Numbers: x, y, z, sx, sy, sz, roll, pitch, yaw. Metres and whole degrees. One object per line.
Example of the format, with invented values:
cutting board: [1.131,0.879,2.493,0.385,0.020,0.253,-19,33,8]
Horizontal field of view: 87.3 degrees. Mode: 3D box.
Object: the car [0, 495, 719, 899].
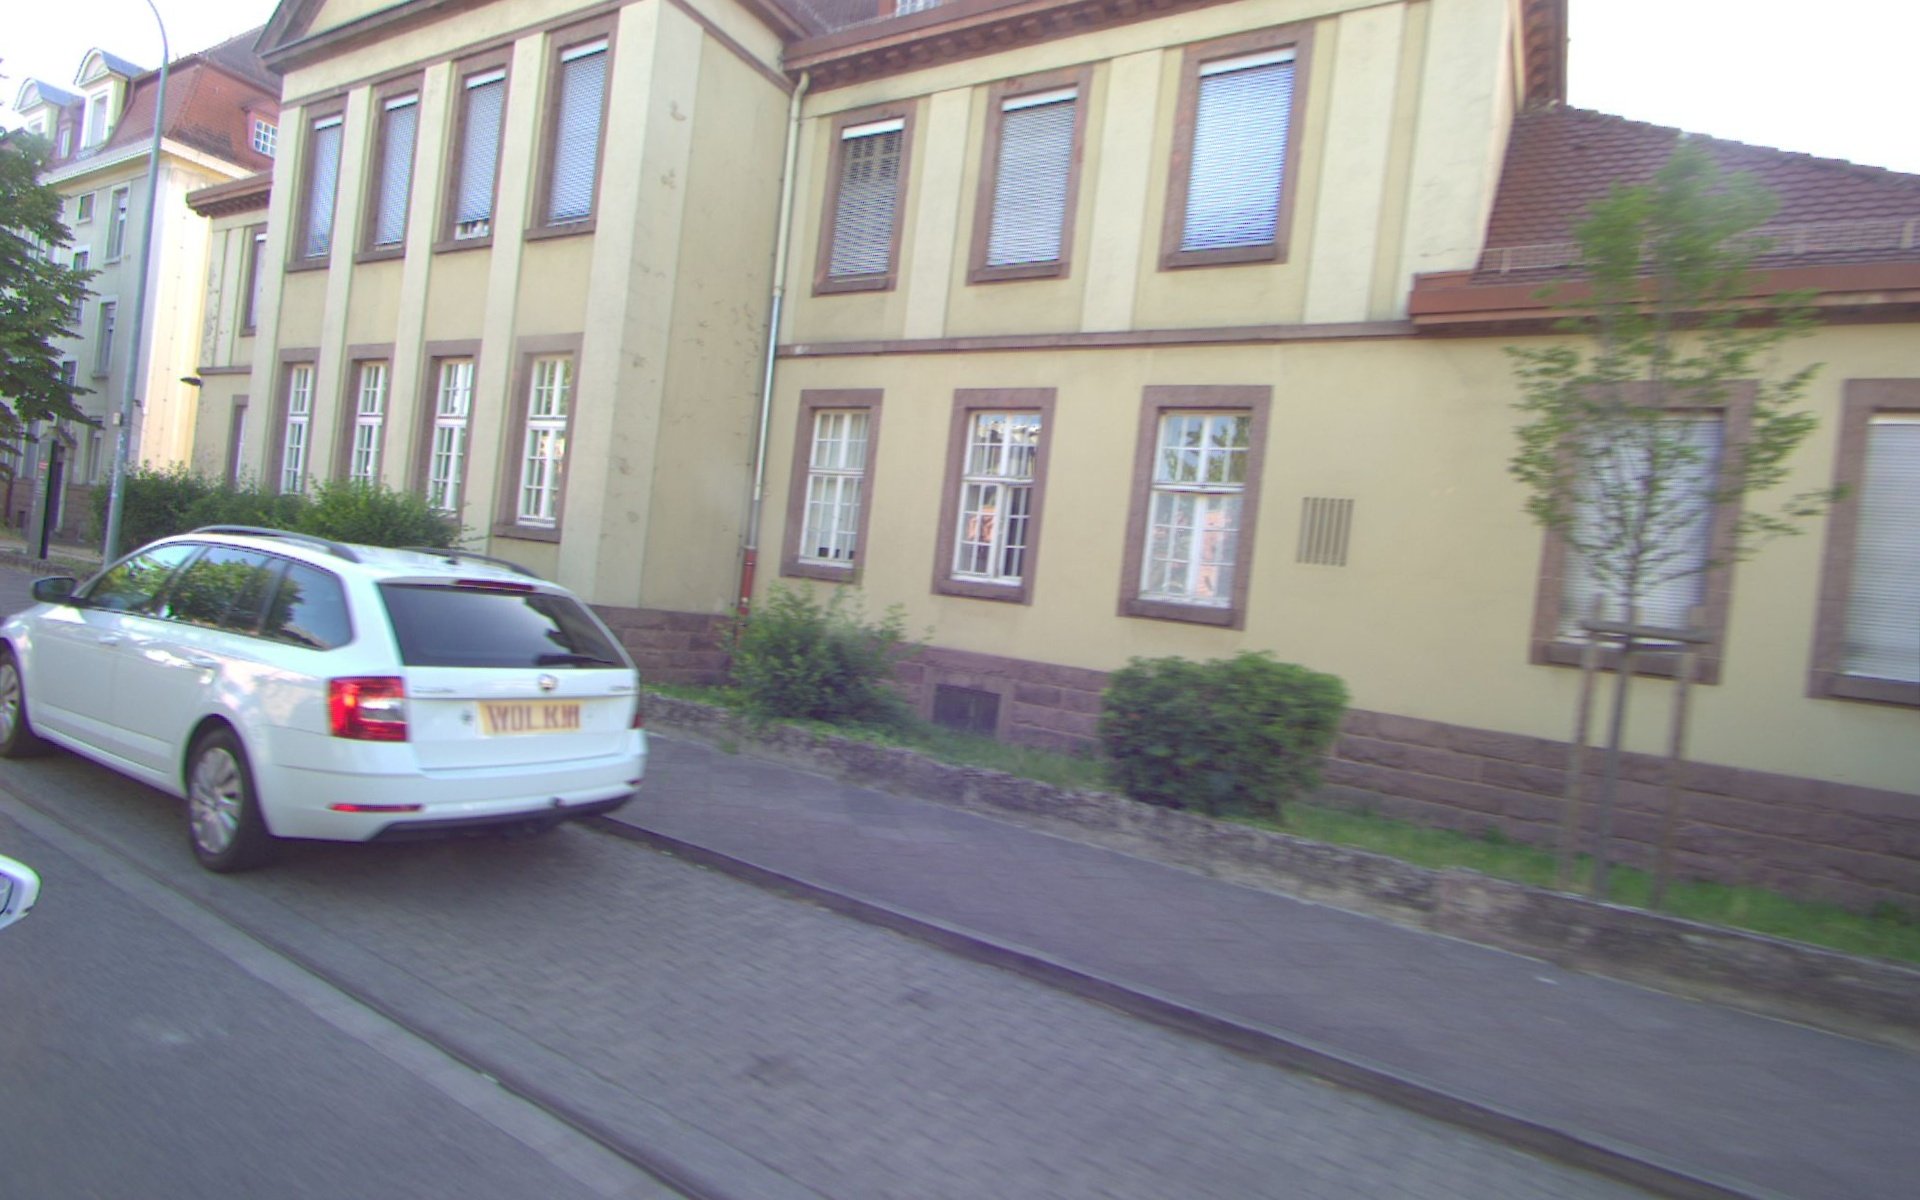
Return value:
car: [-3.687,0.292,5.672,4.421,1.339,1.835,7,0,31]
